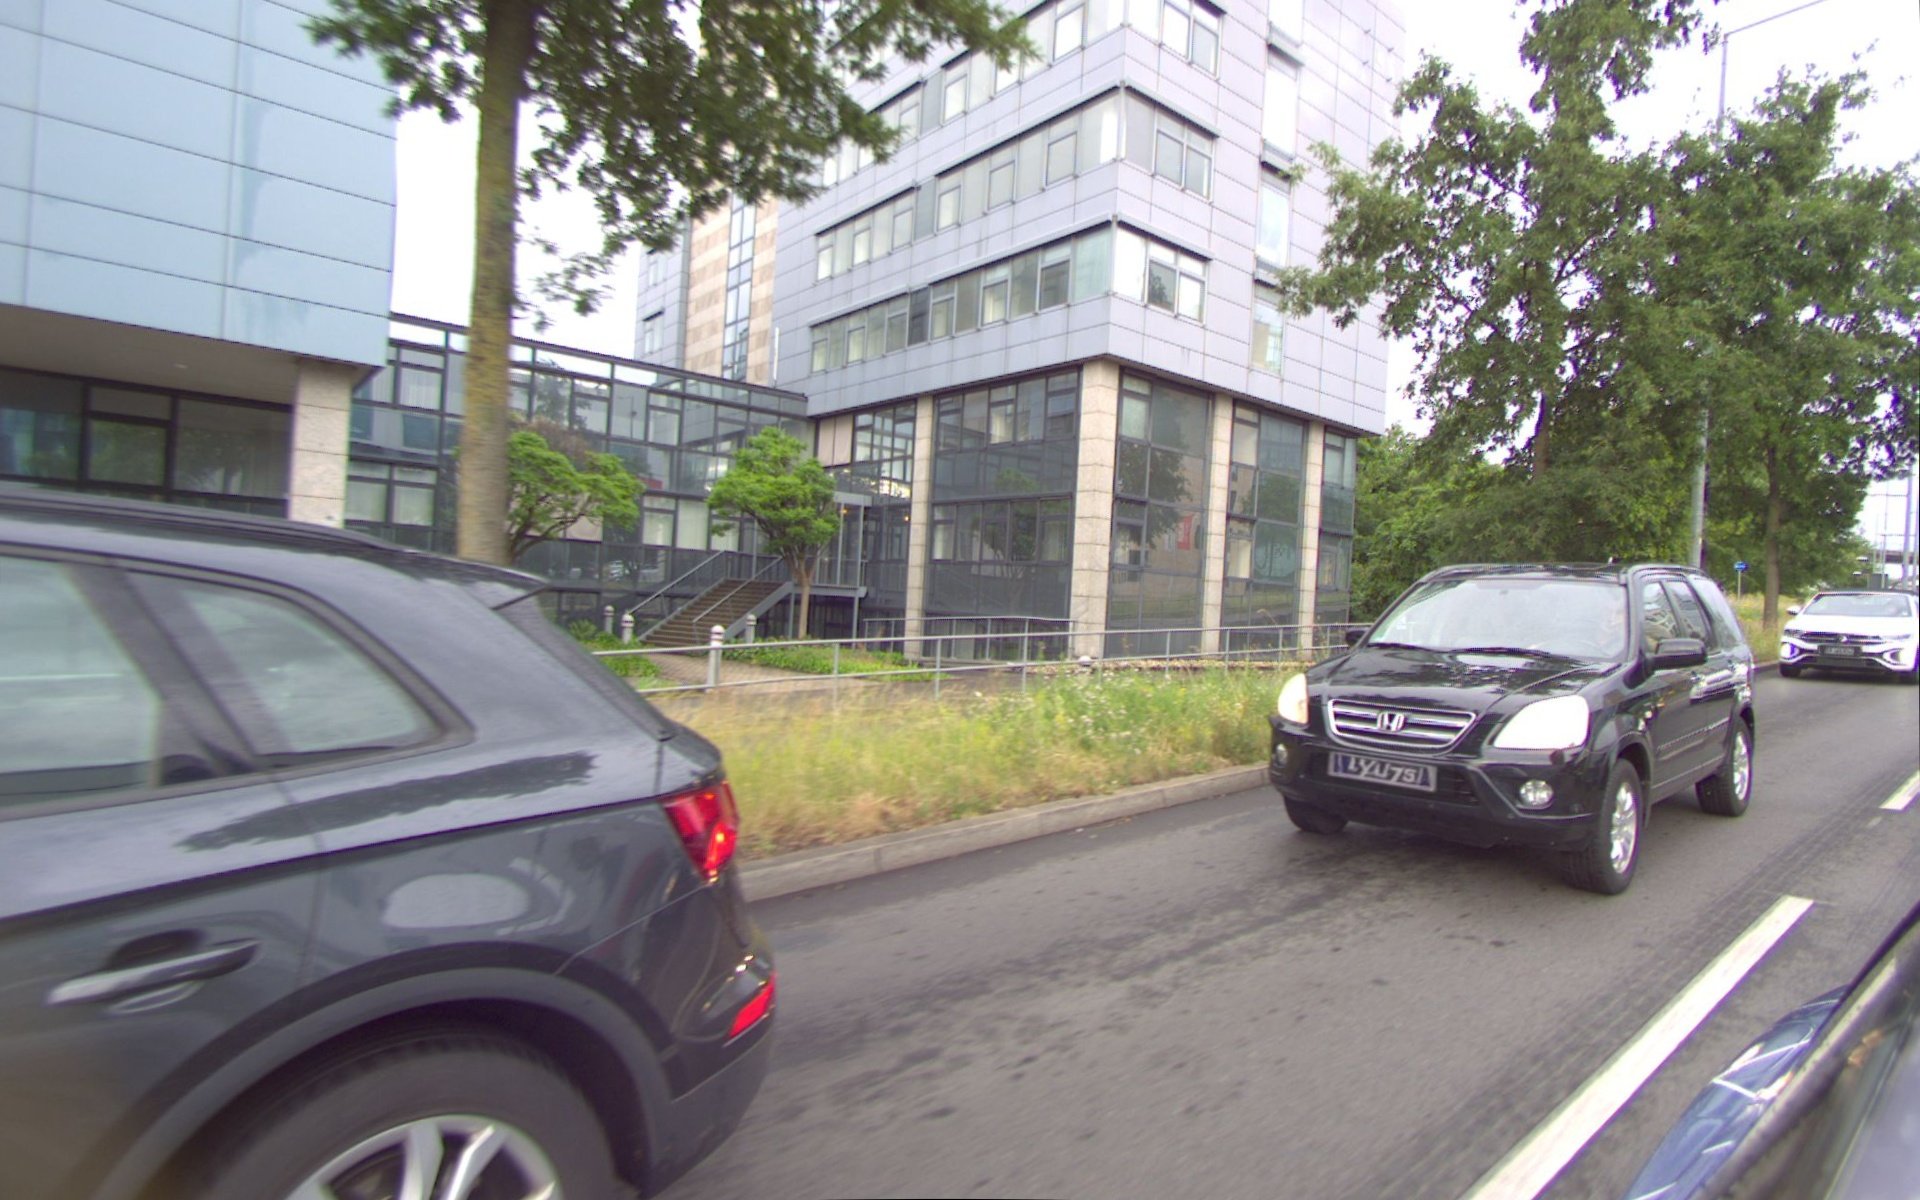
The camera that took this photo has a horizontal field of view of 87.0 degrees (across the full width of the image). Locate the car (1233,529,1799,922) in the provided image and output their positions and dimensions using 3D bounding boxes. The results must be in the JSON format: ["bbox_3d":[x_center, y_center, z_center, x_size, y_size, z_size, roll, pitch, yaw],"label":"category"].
[{"bbox_3d":[3.710,0.494,6.393,4.262,1.679,1.758,-1,2,-41],"label":"car"}]

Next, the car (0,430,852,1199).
[{"bbox_3d":[-2.469,0.596,1.354,4.392,1.633,1.821,-1,1,-41],"label":"car"}]

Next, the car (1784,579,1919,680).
[{"bbox_3d":[15.581,0.420,17.219,3.701,1.522,1.826,-1,1,-41],"label":"car"}]
